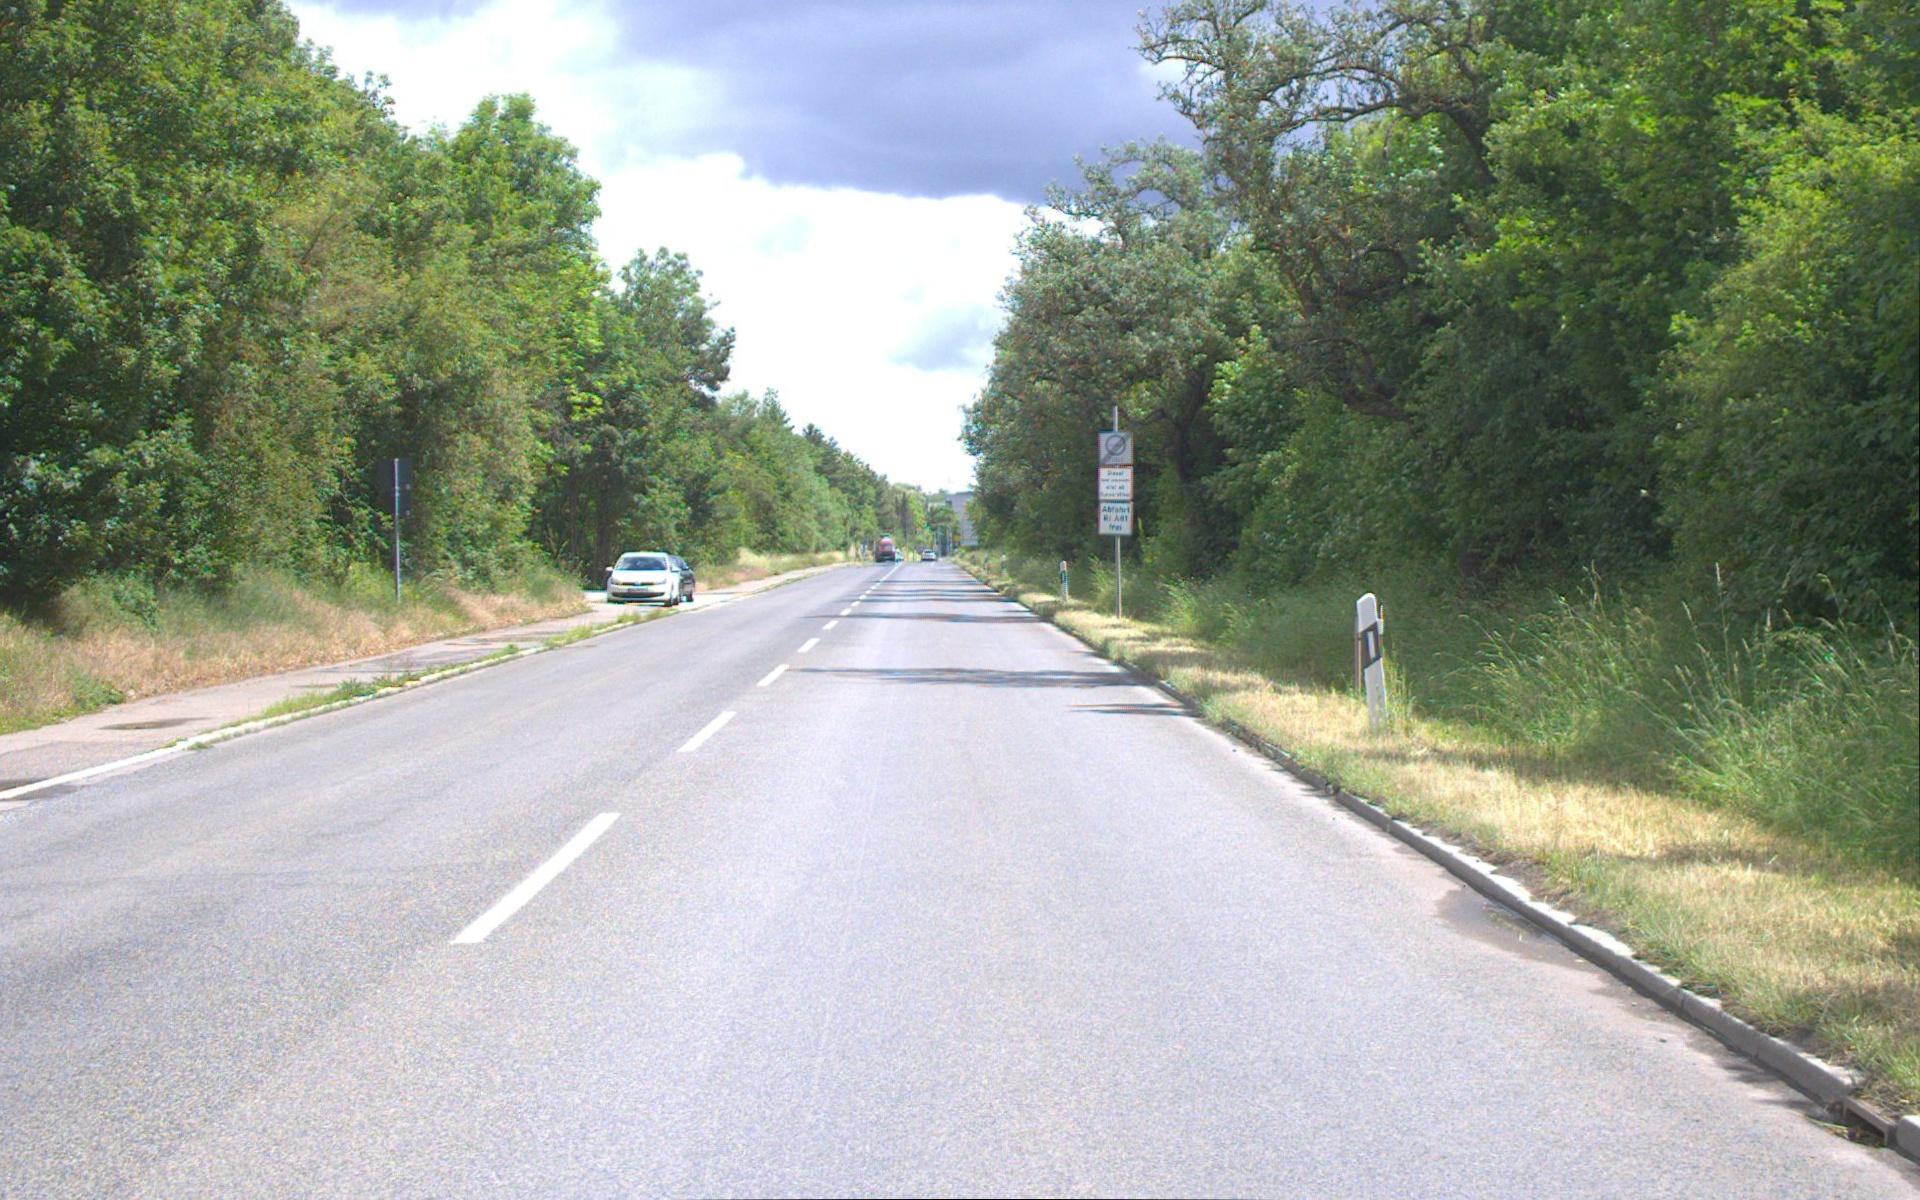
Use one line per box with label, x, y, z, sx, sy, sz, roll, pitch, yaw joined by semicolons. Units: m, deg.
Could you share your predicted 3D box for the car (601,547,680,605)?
car;-8.733;-0.647;94.227;1.798;1.538;3.955;-1;0;0
